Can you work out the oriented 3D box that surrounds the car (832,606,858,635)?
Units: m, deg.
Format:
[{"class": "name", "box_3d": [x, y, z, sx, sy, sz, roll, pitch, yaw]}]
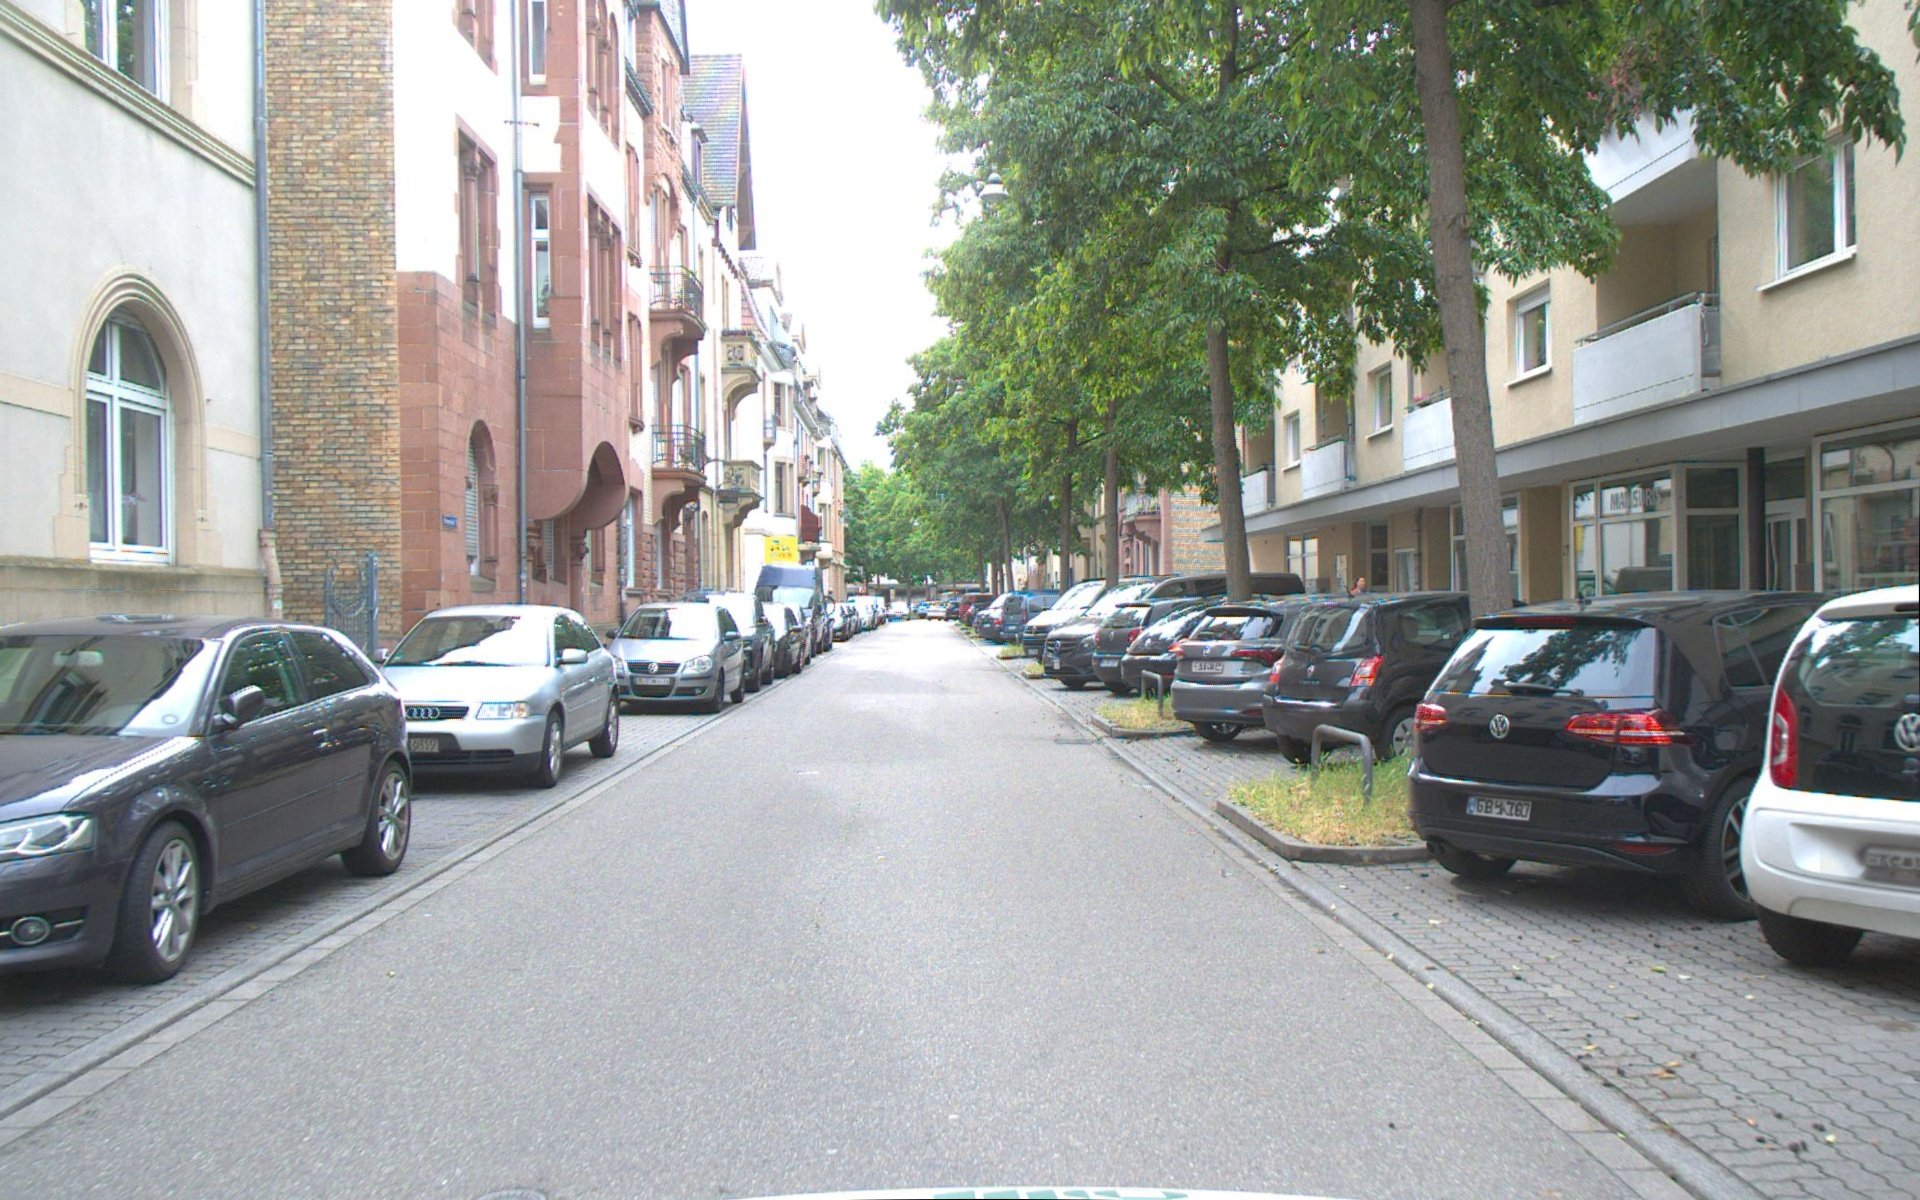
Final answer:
[{"class": "car", "box_3d": [-5.607, 0.981, 80.836, 1.113, 1.332, 3.259, -1, 0, -2]}]

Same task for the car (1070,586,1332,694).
[{"class": "car", "box_3d": [3.881, 0.612, 26.549, 3.810, 1.528, 1.893, -2, 0, -31]}]

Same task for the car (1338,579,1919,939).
[{"class": "car", "box_3d": [4.044, 0.651, 8.876, 4.074, 1.467, 1.826, -1, 0, -40]}]

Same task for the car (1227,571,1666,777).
[{"class": "car", "box_3d": [4.297, 0.601, 14.691, 3.316, 1.523, 1.838, -3, -1, -24]}]

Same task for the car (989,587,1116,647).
[{"class": "car", "box_3d": [3.357, 0.610, 59.711, 4.131, 1.902, 1.979, -3, -1, -31]}]

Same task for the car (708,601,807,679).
[{"class": "car", "box_3d": [-4.118, 0.780, 34.105, 1.601, 1.499, 3.999, 1, 0, -1]}]

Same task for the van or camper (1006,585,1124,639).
[{"class": "van or camper", "box_3d": [4.437, 0.495, 69.634, 4.730, 2.175, 2.033, 0, 0, -33]}]

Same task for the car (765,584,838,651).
[{"class": "car", "box_3d": [-5.119, 0.546, 54.041, 1.953, 2.049, 4.890, -1, 0, -1]}]

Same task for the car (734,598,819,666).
[{"class": "car", "box_3d": [-4.281, 0.766, 39.070, 1.634, 1.499, 3.998, 1, -1, -1]}]

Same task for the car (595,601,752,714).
[{"class": "car", "box_3d": [-3.987, 0.750, 23.547, 1.629, 1.445, 3.928, 1, 0, -2]}]

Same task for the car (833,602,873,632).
[{"class": "car", "box_3d": [-5.702, 0.886, 88.690, 1.953, 1.501, 3.999, -1, 0, -1]}]

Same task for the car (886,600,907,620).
[{"class": "car", "box_3d": [-5.458, 0.863, 142.347, 1.784, 1.674, 3.752, 1, -1, -2]}]

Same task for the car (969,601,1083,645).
[{"class": "car", "box_3d": [2.515, 0.867, 62.515, 3.972, 1.587, 1.864, -1, 0, -33]}]

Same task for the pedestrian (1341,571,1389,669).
[{"class": "pedestrian", "box_3d": [7.466, 0.362, 30.502, 0.611, 1.772, 0.849, -2, 0, -1]}]

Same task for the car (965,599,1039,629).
[{"class": "car", "box_3d": [2.188, 0.744, 86.619, 3.689, 1.490, 1.726, -1, 0, -7]}]

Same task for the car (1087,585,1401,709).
[{"class": "car", "box_3d": [3.998, 0.624, 23.274, 3.992, 1.509, 1.930, -2, 0, -28]}]

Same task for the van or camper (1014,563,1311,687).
[{"class": "van or camper", "box_3d": [3.633, 0.415, 29.483, 4.952, 1.902, 2.106, -3, 0, -29]}]

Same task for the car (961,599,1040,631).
[{"class": "car", "box_3d": [1.975, 0.740, 81.935, 3.689, 1.490, 1.726, -1, 0, -7]}]

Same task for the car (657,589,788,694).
[{"class": "car", "box_3d": [-4.080, 0.665, 28.979, 1.750, 1.675, 4.360, 1, 0, -2]}]

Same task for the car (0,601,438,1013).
[{"class": "car", "box_3d": [-3.860, 0.747, 7.642, 1.691, 1.411, 3.927, 1, -1, -1]}]

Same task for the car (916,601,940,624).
[{"class": "car", "box_3d": [-2.672, 1.077, 138.876, 1.953, 1.825, 3.998, 1, -1, -2]}]

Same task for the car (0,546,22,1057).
[{"class": "car", "box_3d": [-3.752, 0.642, 3.766, 1.613, 1.598, 2.955, 1, 1, -2]}]

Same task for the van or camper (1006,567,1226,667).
[{"class": "van or camper", "box_3d": [3.607, 0.392, 38.171, 4.674, 2.029, 1.982, -2, -2, -27]}]

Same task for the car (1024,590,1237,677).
[{"class": "car", "box_3d": [3.434, 0.643, 33.081, 3.959, 1.470, 1.821, -3, 0, -33]}]

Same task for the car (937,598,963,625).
[{"class": "car", "box_3d": [-0.814, 0.926, 132.886, 1.953, 2.049, 3.998, 2, 0, -2]}]

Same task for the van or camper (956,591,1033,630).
[{"class": "van or camper", "box_3d": [2.007, 0.608, 95.948, 4.102, 2.122, 1.933, -1, 0, -30]}]

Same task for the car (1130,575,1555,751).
[{"class": "car", "box_3d": [4.100, 0.616, 17.645, 4.168, 1.527, 1.957, -3, 0, -29]}]

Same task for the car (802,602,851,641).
[{"class": "car", "box_3d": [-5.276, 0.844, 65.634, 1.753, 1.506, 4.021, 0, 0, -2]}]

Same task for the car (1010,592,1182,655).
[{"class": "car", "box_3d": [3.626, 0.614, 43.917, 4.262, 1.417, 1.901, -3, 0, -33]}]

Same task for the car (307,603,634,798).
[{"class": "car", "box_3d": [-4.040, 0.752, 14.356, 1.691, 1.411, 4.135, 1, 0, -2]}]

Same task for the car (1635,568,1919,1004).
[{"class": "car", "box_3d": [4.843, 0.597, 6.807, 3.858, 1.491, 1.807, -1, 0, -29]}]

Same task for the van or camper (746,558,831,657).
[{"class": "van or camper", "box_3d": [-4.952, 0.202, 48.391, 1.967, 2.698, 5.314, -1, 0, -1]}]
